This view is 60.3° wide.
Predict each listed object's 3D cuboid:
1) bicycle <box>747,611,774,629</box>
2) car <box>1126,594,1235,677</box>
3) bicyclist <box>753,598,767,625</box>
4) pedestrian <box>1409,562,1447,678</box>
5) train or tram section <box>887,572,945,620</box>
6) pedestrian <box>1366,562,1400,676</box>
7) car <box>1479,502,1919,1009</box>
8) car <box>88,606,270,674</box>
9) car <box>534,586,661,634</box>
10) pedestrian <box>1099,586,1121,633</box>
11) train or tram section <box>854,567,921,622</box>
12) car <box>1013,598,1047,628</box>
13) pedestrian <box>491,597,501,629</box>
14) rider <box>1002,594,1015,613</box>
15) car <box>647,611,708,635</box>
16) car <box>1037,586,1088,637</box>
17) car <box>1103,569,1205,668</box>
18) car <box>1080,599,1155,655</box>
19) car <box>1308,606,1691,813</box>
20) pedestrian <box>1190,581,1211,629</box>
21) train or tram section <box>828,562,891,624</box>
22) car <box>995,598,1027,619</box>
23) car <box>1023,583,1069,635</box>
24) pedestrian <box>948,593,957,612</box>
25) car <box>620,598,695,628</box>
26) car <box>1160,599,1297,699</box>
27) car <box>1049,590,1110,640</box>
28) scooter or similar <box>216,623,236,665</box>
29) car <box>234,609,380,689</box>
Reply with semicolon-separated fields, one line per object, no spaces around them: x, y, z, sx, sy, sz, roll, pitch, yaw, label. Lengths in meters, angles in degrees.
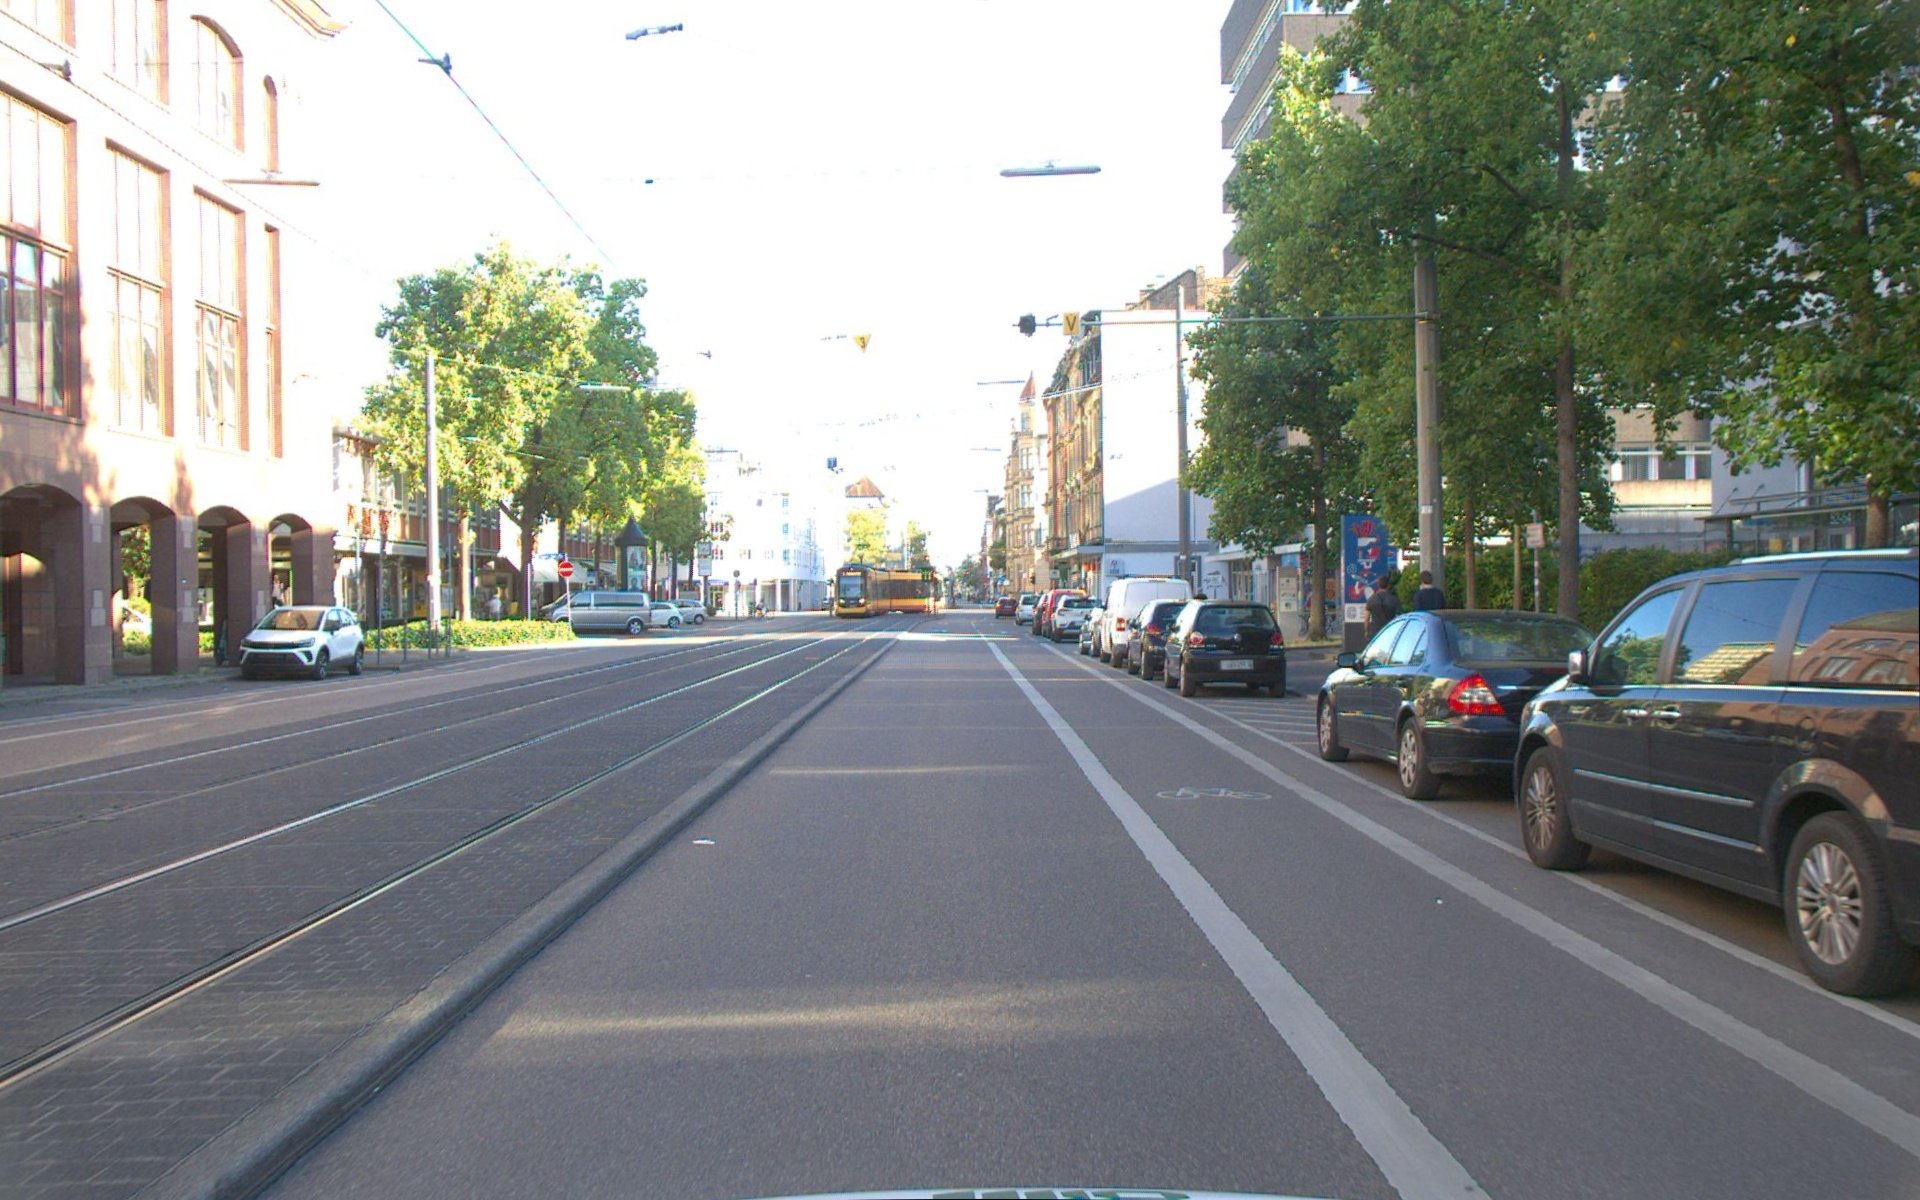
-15.076;1.522;124.989;1.979;1.261;0.700;2;0;24;bicycle
4.208;0.642;32.069;1.588;1.499;3.970;0;0;0;car
-15.112;0.873;125.006;0.707;2.049;0.700;1;0;24;bicyclist
7.185;0.305;25.385;0.488;1.739;0.454;-2;2;18;pedestrian
-3.621;-0.365;139.398;2.634;3.818;11.298;1;0;10;train or tram section
6.579;0.289;25.702;0.417;1.739;0.454;-2;2;18;pedestrian
4.358;0.560;8.075;1.910;1.819;5.180;1;0;-1;car
-24.792;1.240;52.703;4.831;2.028;2.145;-1;0;-13;car
-16.605;0.481;75.757;5.202;2.078;2.392;1;-2;-33;car
5.563;0.347;61.277;0.715;1.752;0.835;-1;0;0;pedestrian
-5.464;-0.439;127.415;2.634;3.946;12.854;1;0;9;train or tram section
3.772;0.681;89.431;1.588;1.582;4.082;1;0;-1;car
-20.399;0.566;72.657;0.357;1.367;0.480;1;0;-20;pedestrian
3.860;0.298;131.311;0.700;1.507;0.881;1;0;-21;rider
-17.936;1.463;105.124;3.486;1.507;1.564;1;0;-33;car
3.863;0.401;62.747;1.588;1.845;4.082;1;0;-1;car
4.376;0.386;37.898;1.930;2.049;4.560;-2;0;2;car
4.163;0.690;44.199;1.588;1.394;3.930;1;0;-1;car
4.321;0.785;14.066;1.681;1.452;4.674;0;0;-1;car
8.838;0.194;60.891;0.647;1.752;0.835;-1;0;0;pedestrian
-6.885;-0.473;115.017;2.635;4.029;12.097;1;0;4;train or tram section
3.564;0.573;116.198;2.023;1.413;4.225;1;0;-1;car
3.480;0.335;67.310;1.588;2.041;3.830;1;0;-1;car
-0.833;0.310;179.228;0.901;2.049;0.759;1;0;0;pedestrian
-17.376;0.748;95.032;3.830;1.656;1.856;1;0;-31;car
4.265;0.730;26.755;1.588;1.456;3.984;0;0;0;car
4.059;0.494;56.569;1.688;1.595;4.082;-2;0;-1;car
-17.294;1.032;38.981;0.357;0.955;0.967;1;0;-20;scooter or similar
-14.826;1.072;37.808;1.832;1.628;4.252;-1;1;-3;car
